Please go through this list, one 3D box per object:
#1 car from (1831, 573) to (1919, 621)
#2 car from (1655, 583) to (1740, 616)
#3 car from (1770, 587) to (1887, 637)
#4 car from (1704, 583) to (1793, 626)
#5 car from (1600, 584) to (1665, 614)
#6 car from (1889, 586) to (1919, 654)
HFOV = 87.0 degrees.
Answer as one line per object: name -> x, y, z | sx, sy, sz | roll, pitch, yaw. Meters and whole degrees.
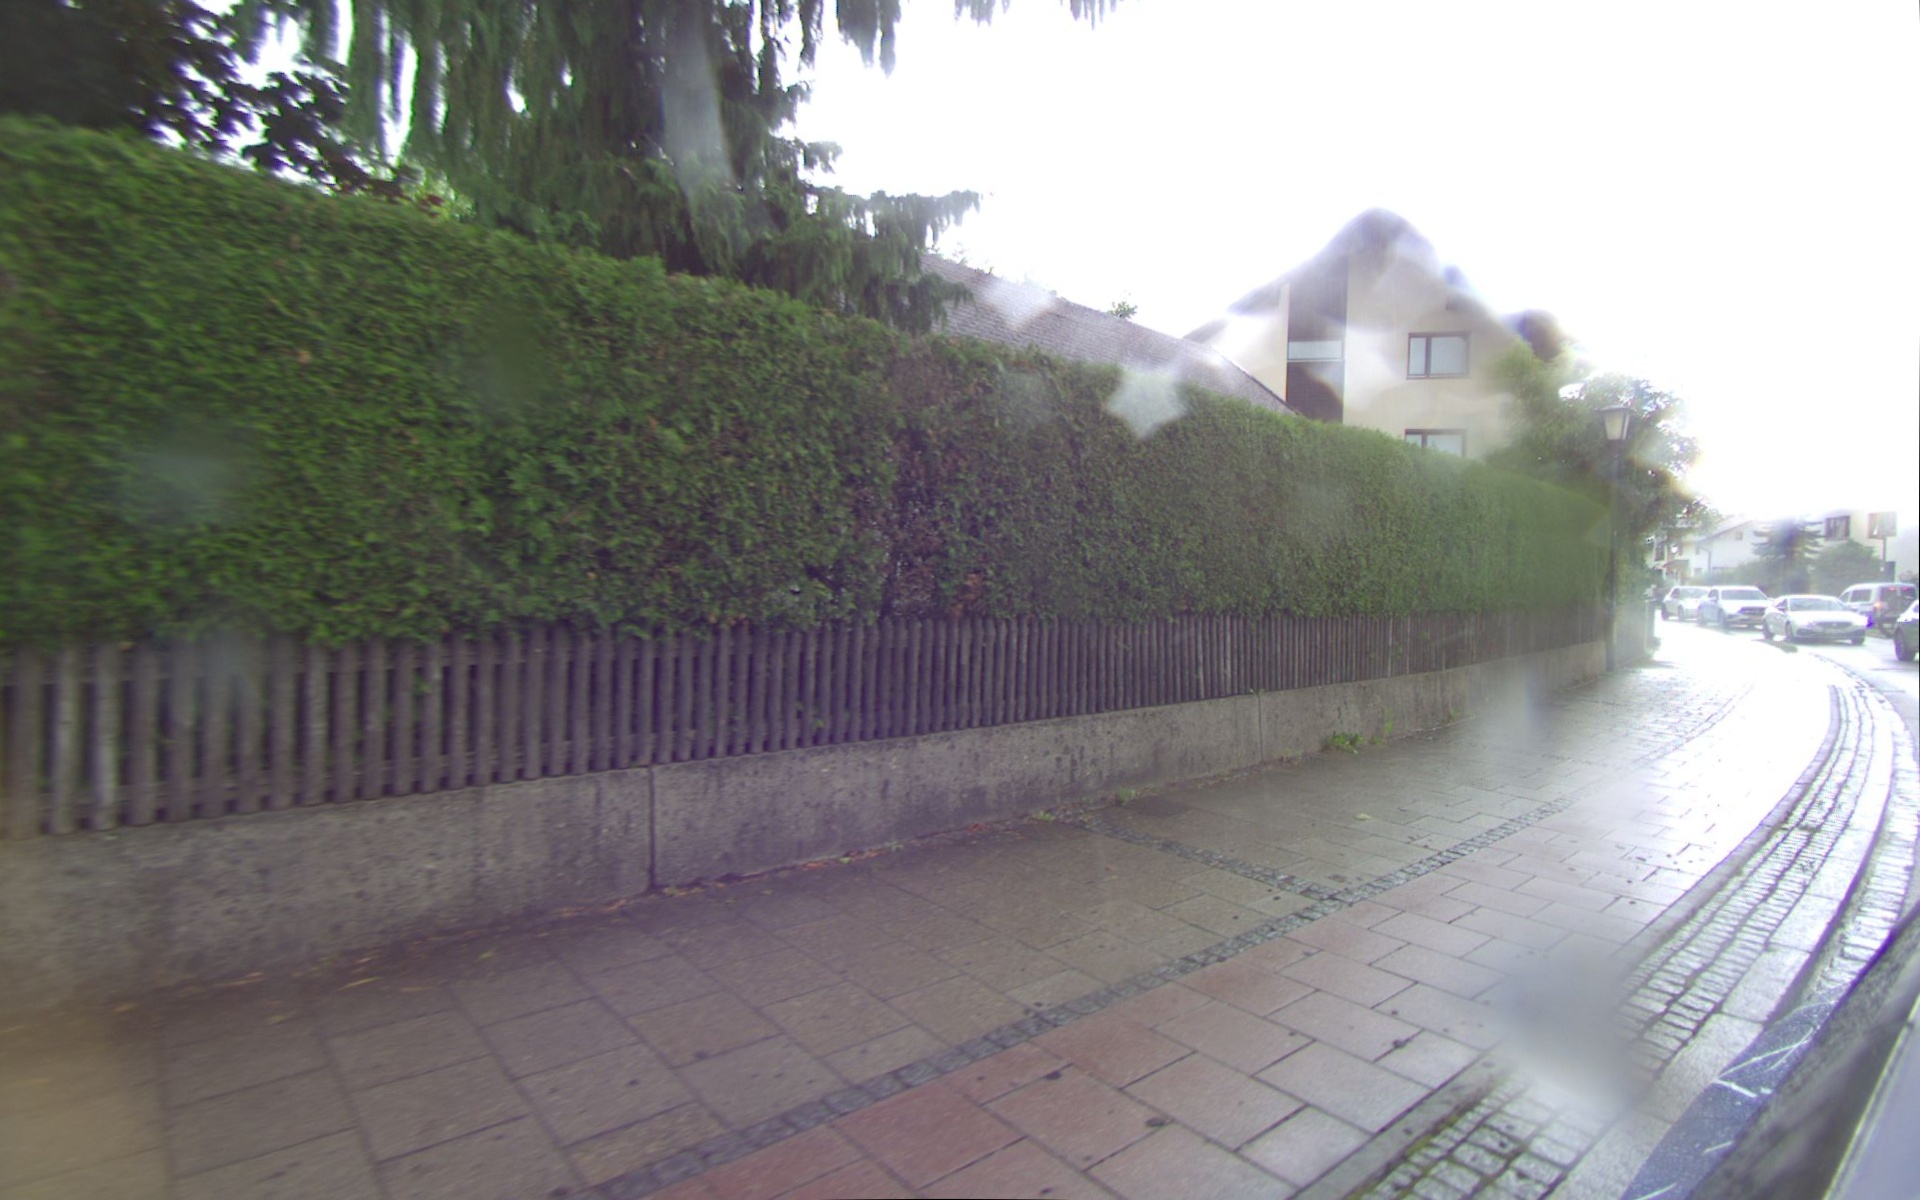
car -> 36.397, -0.147, 40.004 | 1.626, 1.787, 4.299 | -1, 0, 22
car -> 33.718, -0.051, 46.392 | 1.770, 1.391, 4.259 | -1, 0, 17
car -> 26.594, 0.333, 31.137 | 1.778, 1.412, 4.240 | -1, 1, 28
car -> 30.587, 0.130, 39.382 | 1.776, 1.568, 4.244 | -1, 0, 25
car -> 36.832, -0.086, 55.561 | 1.770, 1.568, 4.259 | -1, 0, 17
car -> 21.867, 0.445, 21.640 | 1.780, 1.498, 5.329 | -1, 1, 30
